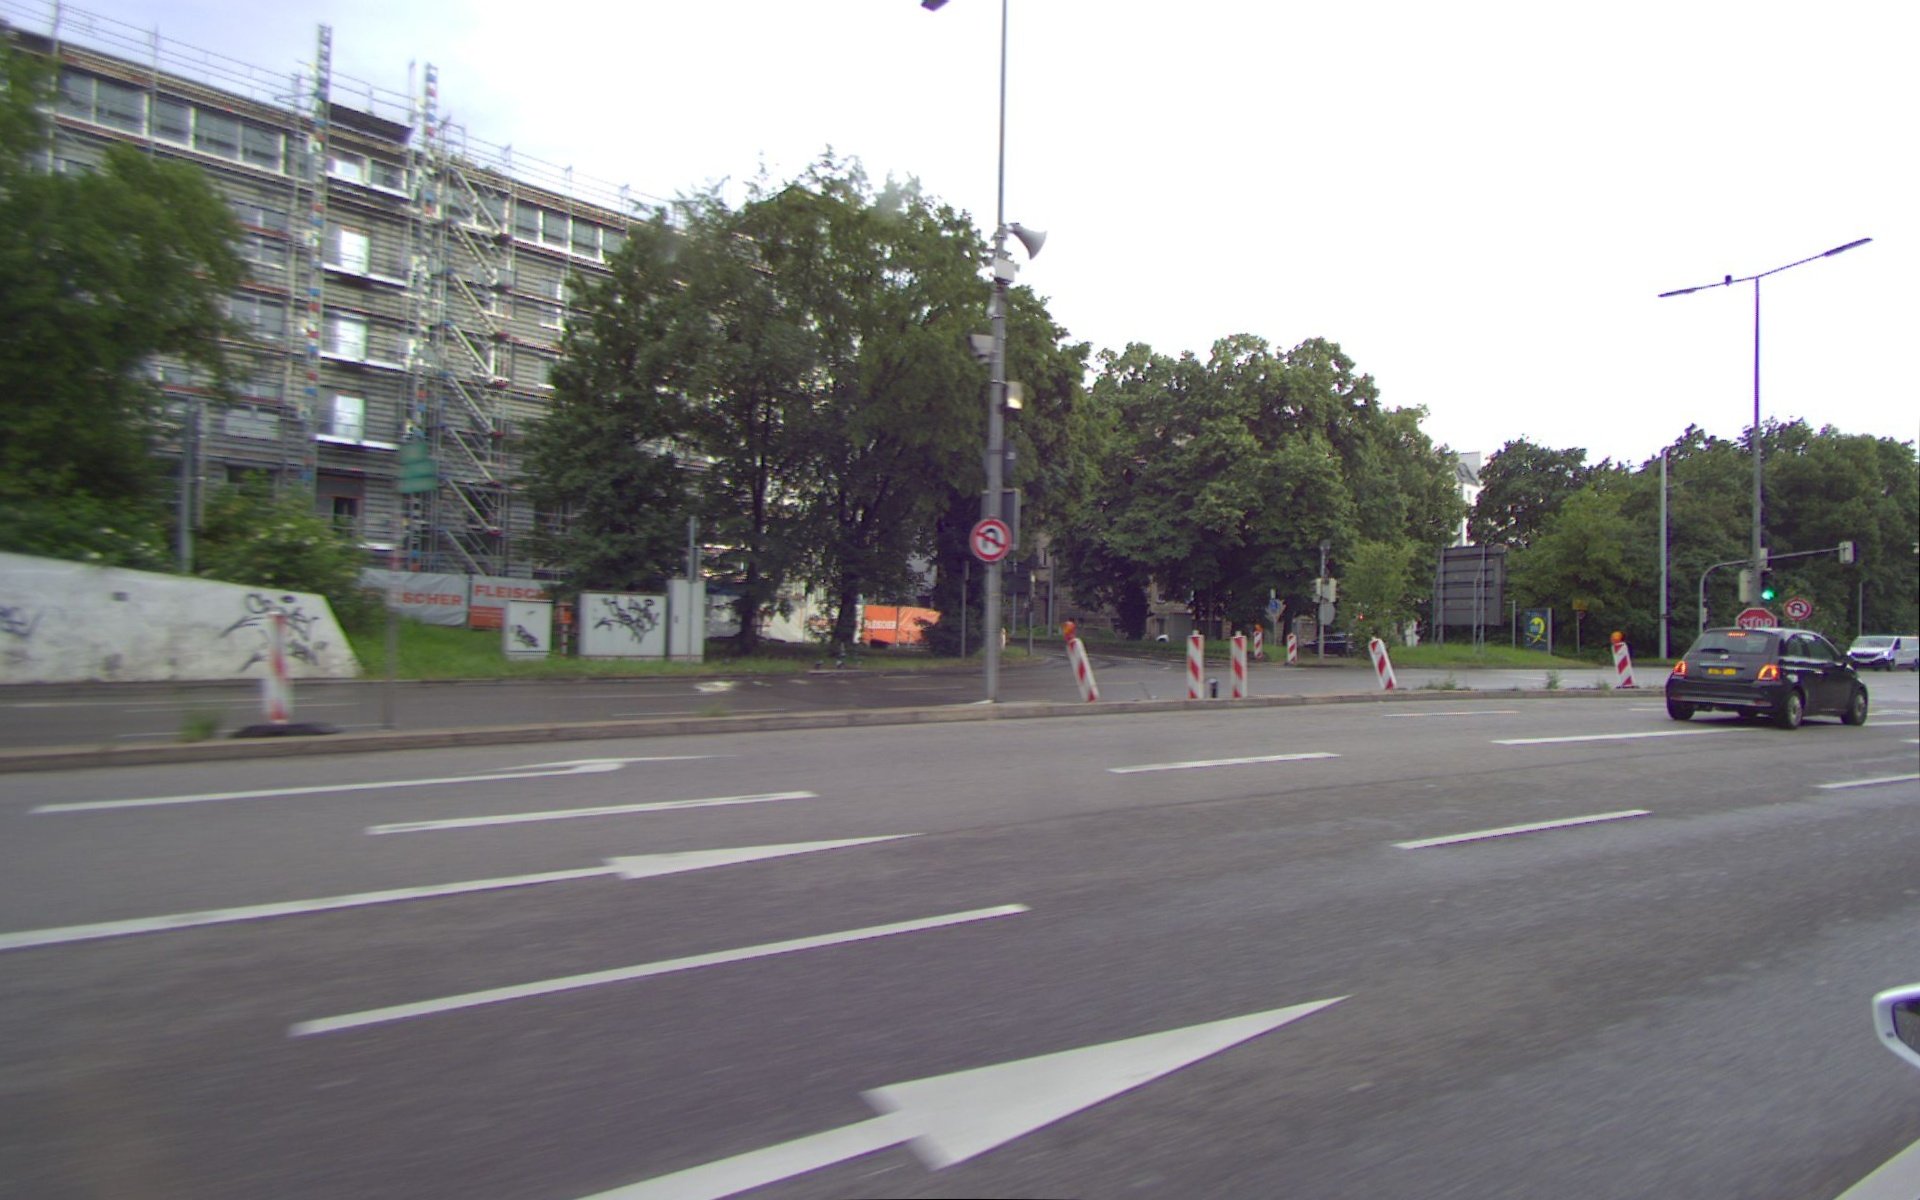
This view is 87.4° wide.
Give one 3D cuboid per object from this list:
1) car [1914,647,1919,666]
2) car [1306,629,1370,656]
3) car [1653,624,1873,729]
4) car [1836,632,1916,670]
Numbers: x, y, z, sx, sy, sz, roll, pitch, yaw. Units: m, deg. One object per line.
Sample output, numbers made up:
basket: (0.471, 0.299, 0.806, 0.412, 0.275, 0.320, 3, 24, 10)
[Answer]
car: (57.536, 3.332, 59.192, 2.761, 1.100, 1.263, 1, -1, -31)
car: (24.811, 2.775, 65.942, 1.863, 1.679, 3.462, 3, -3, -41)
car: (12.651, 1.153, 15.794, 3.463, 1.460, 1.579, 2, -1, -30)
car: (50.853, 2.776, 55.760, 4.934, 2.000, 2.024, 1, -1, -32)
